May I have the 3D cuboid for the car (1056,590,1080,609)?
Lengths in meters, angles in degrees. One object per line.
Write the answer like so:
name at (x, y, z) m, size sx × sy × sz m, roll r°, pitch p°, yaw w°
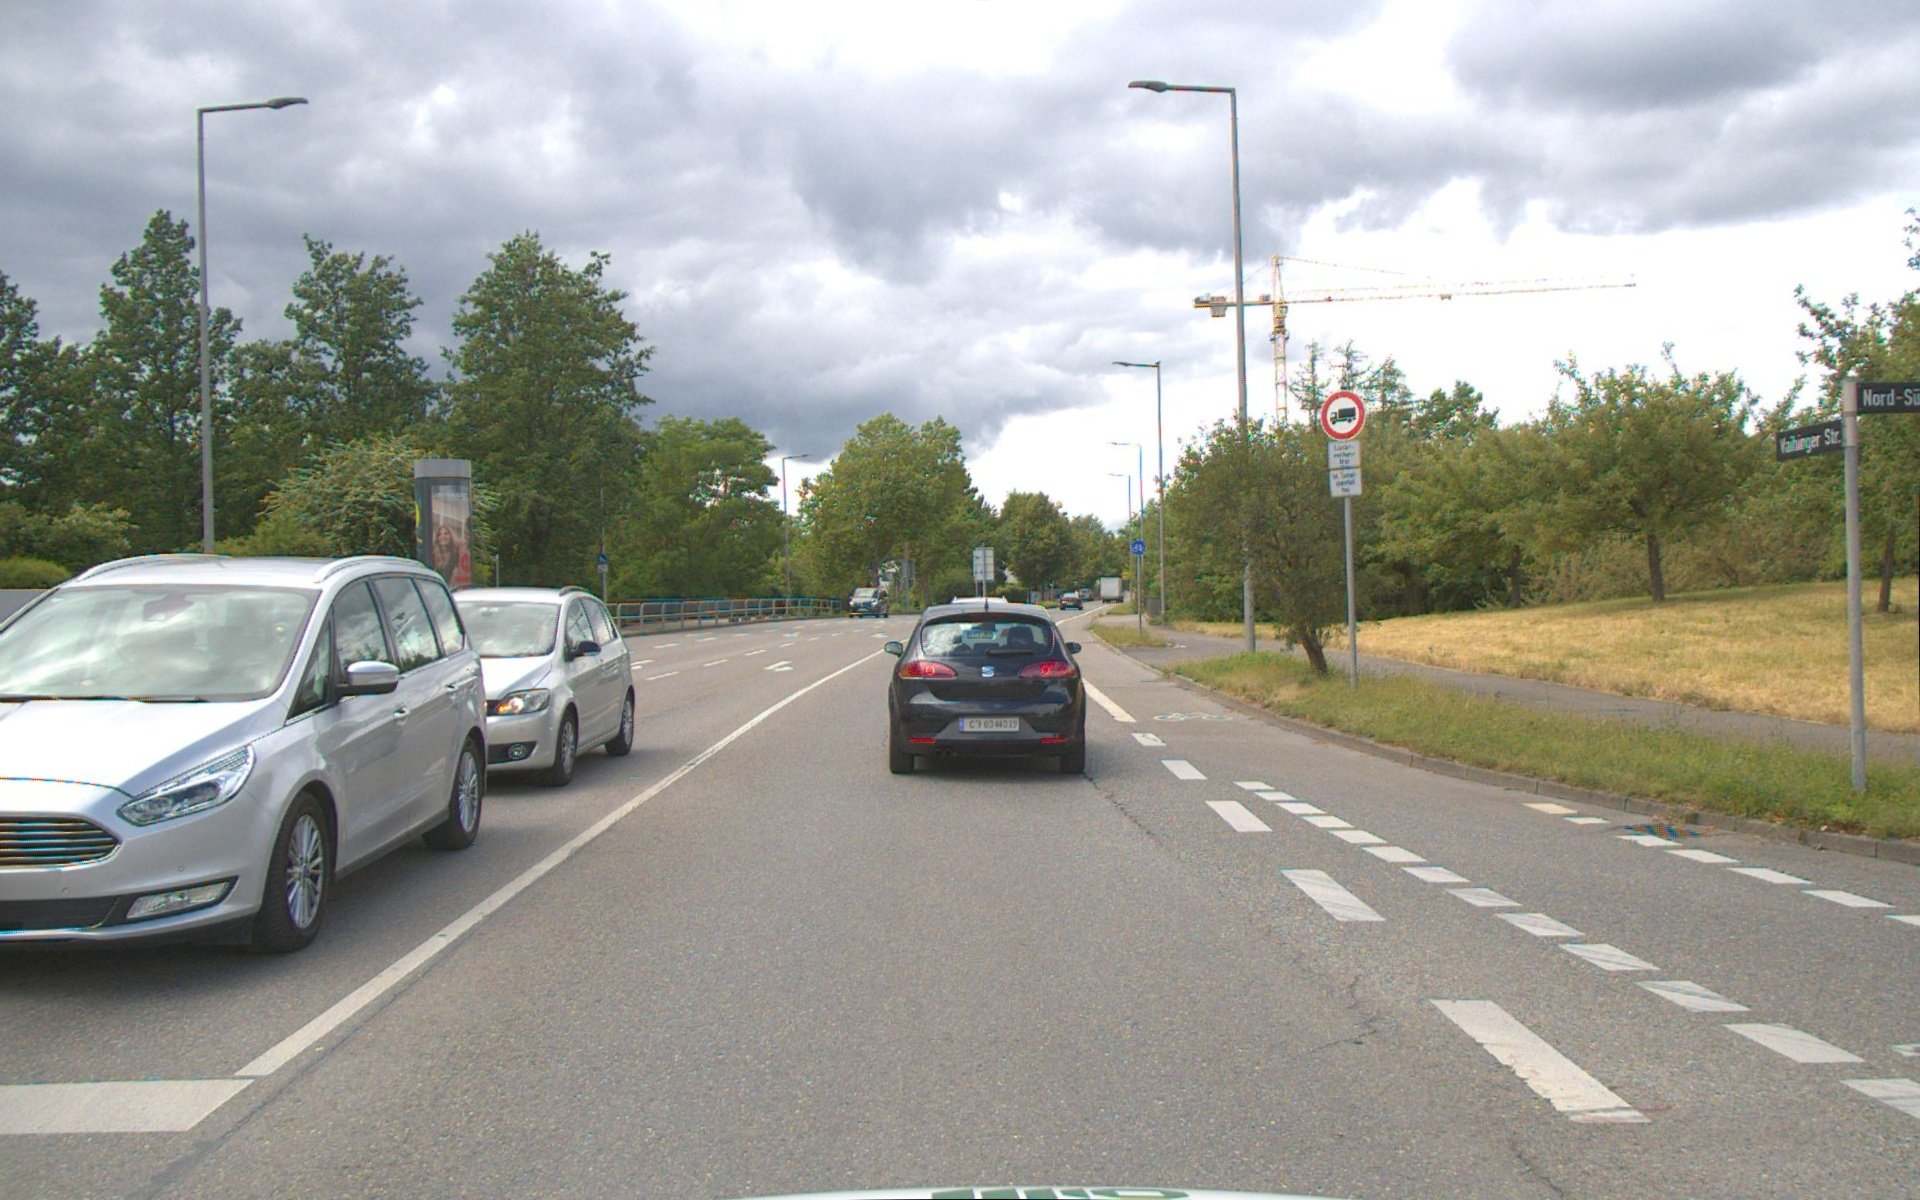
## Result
car at (9.138, -0.058, 139.765) m, size 1.951 × 1.593 × 4.474 m, roll 0°, pitch 0°, yaw 5°

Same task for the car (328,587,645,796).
car at (-3.908, 0.666, 14.344) m, size 1.626 × 1.545 × 4.083 m, roll 0°, pitch 0°, yaw -1°

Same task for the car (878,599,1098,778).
car at (0.151, 0.719, 15.178) m, size 1.678 × 1.442 × 3.456 m, roll 0°, pitch 0°, yaw -5°

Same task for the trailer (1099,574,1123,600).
trailer at (18.734, -1.602, 204.684) m, size 2.438 × 3.127 × 5.591 m, roll 0°, pitch -1°, yaw 11°

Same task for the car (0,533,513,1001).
car at (-3.677, 0.593, 8.379) m, size 1.784 × 1.716 × 4.642 m, roll 1°, pitch 0°, yaw -3°

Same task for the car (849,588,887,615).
car at (-5.681, 0.099, 102.231) m, size 1.678 × 1.609 × 3.745 m, roll 0°, pitch -1°, yaw 7°

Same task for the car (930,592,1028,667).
car at (0.354, 0.608, 35.033) m, size 1.798 × 1.493 × 3.748 m, roll 1°, pitch -1°, yaw -4°
